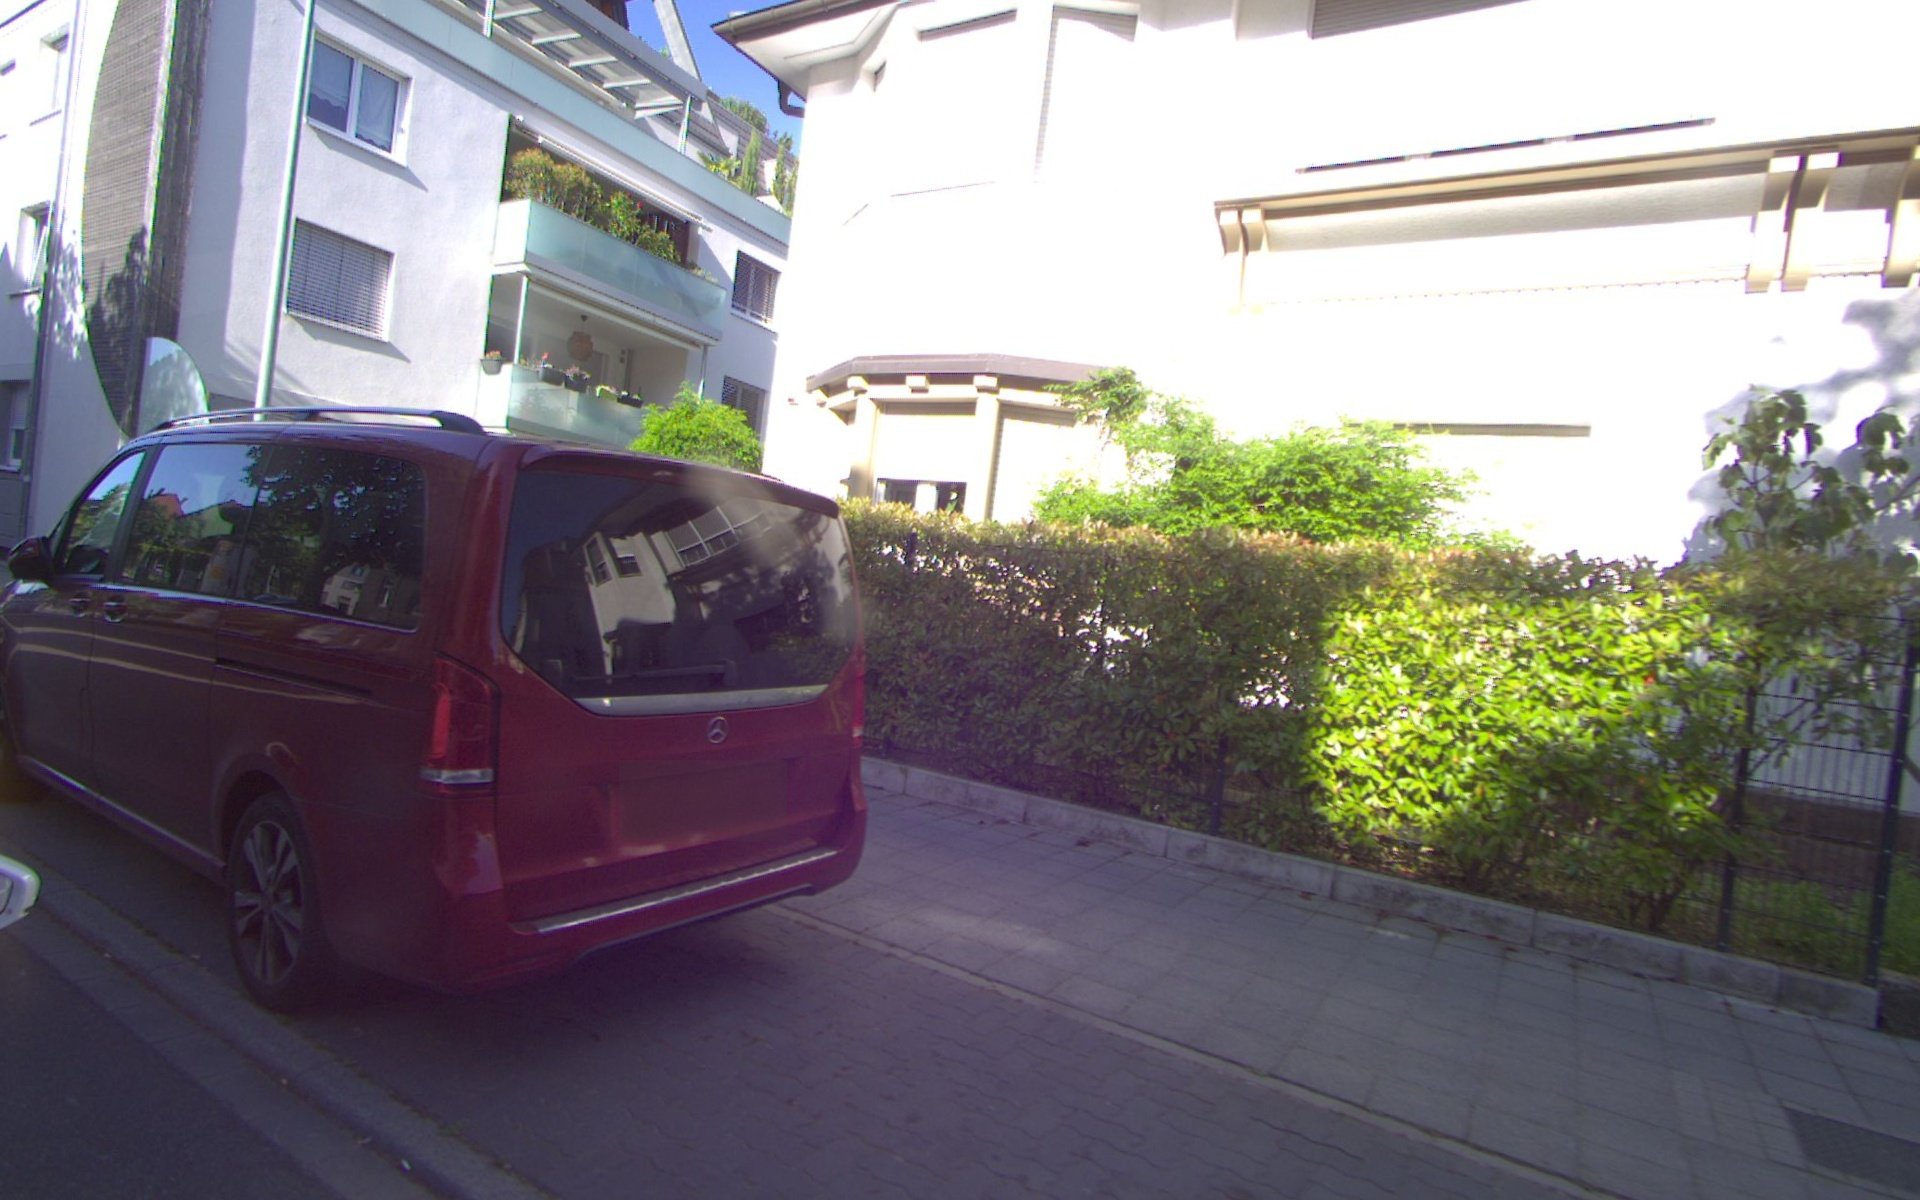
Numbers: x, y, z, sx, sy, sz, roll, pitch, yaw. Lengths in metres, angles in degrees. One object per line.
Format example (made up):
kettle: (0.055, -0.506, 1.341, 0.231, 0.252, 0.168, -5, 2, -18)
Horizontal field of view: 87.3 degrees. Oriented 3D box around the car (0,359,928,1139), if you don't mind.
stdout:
car: (-2.849, 0.207, 4.654, 5.113, 1.929, 1.872, 6, 1, 33)
